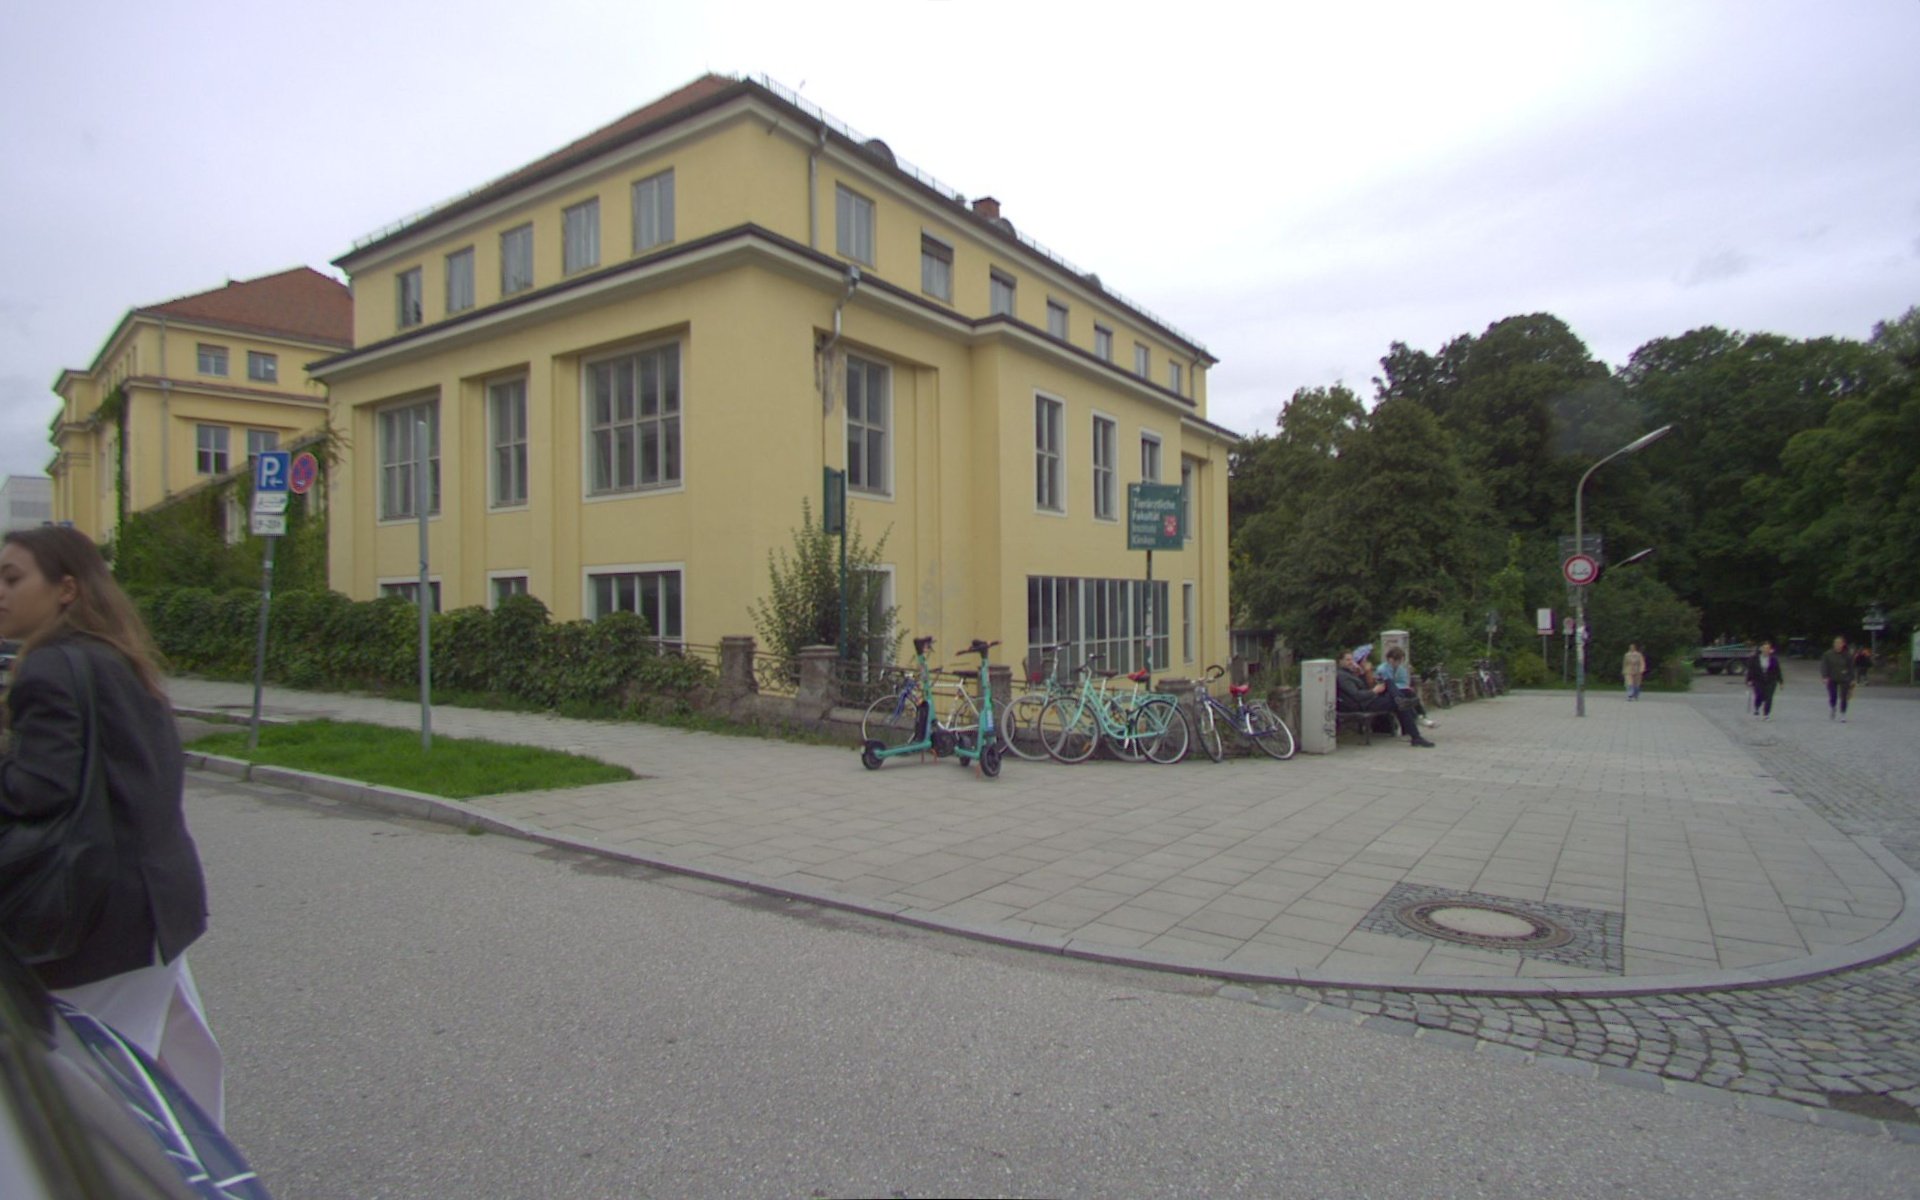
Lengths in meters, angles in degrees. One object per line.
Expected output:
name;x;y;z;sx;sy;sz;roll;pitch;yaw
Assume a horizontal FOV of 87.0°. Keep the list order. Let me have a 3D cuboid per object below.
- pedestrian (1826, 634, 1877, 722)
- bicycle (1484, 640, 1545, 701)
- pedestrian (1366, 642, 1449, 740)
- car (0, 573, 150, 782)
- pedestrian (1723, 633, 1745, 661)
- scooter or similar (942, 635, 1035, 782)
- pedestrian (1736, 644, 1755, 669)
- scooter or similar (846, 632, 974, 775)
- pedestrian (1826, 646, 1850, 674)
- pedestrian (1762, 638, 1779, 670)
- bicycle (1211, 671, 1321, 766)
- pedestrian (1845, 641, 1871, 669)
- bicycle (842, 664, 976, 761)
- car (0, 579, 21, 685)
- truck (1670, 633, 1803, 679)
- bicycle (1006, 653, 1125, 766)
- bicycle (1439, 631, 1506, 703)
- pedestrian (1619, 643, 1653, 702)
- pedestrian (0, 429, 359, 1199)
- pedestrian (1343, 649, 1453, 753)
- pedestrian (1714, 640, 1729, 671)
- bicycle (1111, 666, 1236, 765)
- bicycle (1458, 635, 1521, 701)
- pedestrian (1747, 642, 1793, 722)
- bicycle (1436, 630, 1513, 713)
pedestrian;17.829;1.536;20.262;0.659;1.710;0.742;-2;-2;37
bicycle;16.563;2.057;30.306;1.044;1.674;3.132;-1;-1;19
pedestrian;6.572;1.299;14.856;1.028;1.345;0.946;-1;-1;28
car;-9.651;0.692;9.975;4.615;1.732;1.972;-2;-2;43
pedestrian;57.227;3.485;74.845;1.047;2.029;1.137;-1;-2;28
scooter or similar;0.245;0.960;9.332;0.432;1.221;1.057;1;0;-23
pedestrian;48.100;3.465;61.955;0.618;1.506;0.666;1;-2;-24
scooter or similar;-0.460;0.949;9.667;1.245;1.253;0.395;1;0;-44
pedestrian;53.307;3.613;61.455;0.720;1.665;0.885;1;-2;-31
pedestrian;51.827;3.443;64.724;0.695;2.029;0.710;-2;-3;35
bicycle;3.443;1.306;11.368;1.254;0.985;0.415;1;-2;-29
pedestrian;54.627;3.355;61.569;0.875;1.665;0.729;-1;-2;18
bicycle;-0.530;1.157;10.603;1.318;0.900;0.432;1;0;16
car;-20.420;0.610;19.992;4.615;1.994;1.907;-1;-4;38
truck;43.529;3.126;56.856;5.423;2.480;2.397;-1;-1;4
bicycle;1.091;1.112;10.464;1.171;1.119;0.302;1;-1;-14
bicycle;12.886;1.632;25.570;1.044;1.674;2.985;-1;-1;18
pedestrian;20.467;2.186;30.653;0.747;1.719;1.100;-1;-1;31
pedestrian;-1.752;0.571;2.103;0.662;1.710;0.539;-1;-3;23
pedestrian;5.849;1.311;13.504;1.260;1.278;0.842;-1;-1;29
pedestrian;50.160;3.679;66.688;0.695;2.029;0.710;-2;-3;35
bicycle;2.278;1.213;10.793;1.254;0.985;0.415;0;-2;-19
bicycle;14.693;1.838;28.187;1.044;1.674;3.132;-1;-1;19
pedestrian;16.801;1.678;20.996;0.691;1.593;0.742;-2;-2;39
bicycle;11.456;1.542;22.680;1.044;1.674;3.133;-1;-1;18
